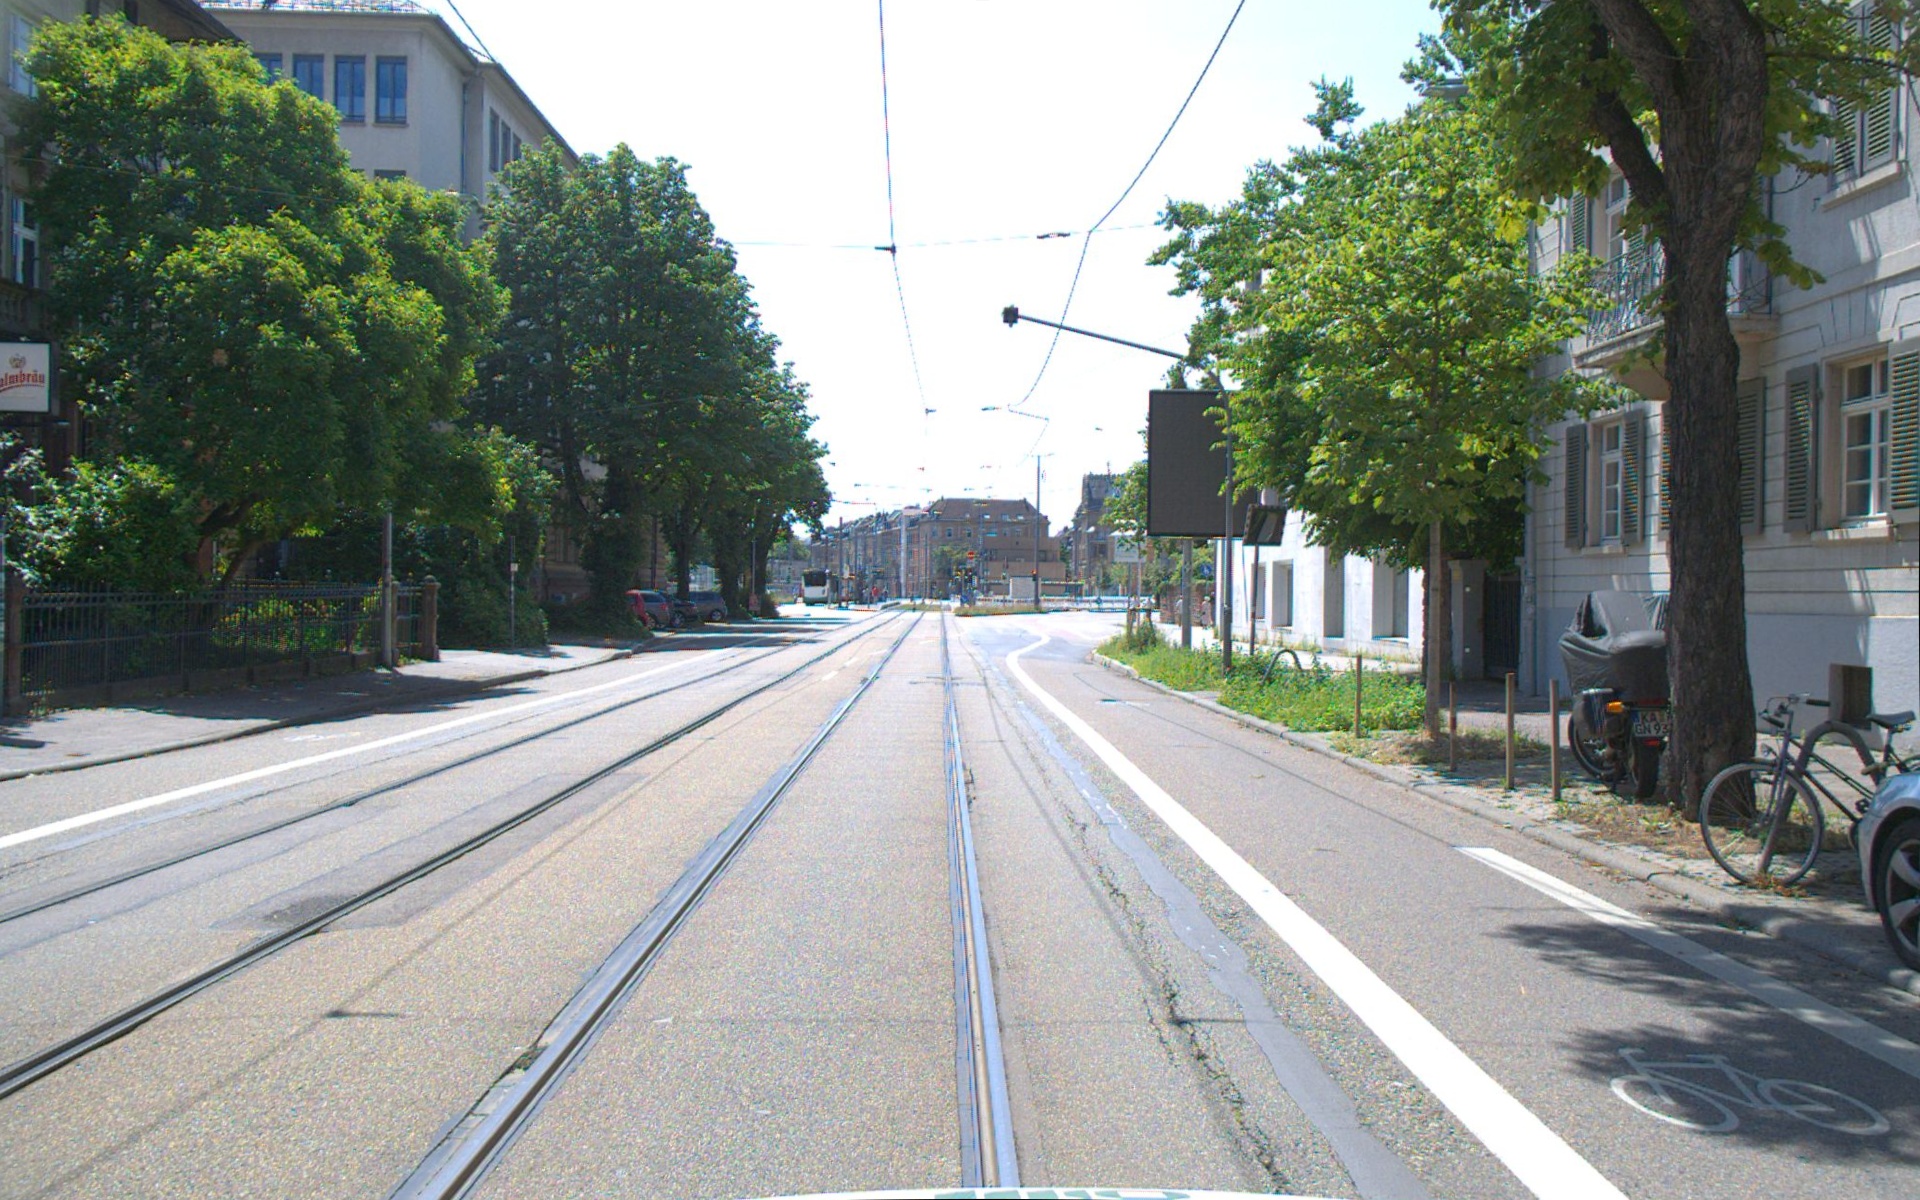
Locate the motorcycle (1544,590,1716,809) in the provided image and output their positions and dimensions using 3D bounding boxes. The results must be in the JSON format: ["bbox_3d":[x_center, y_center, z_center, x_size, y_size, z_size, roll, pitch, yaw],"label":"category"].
[{"bbox_3d":[5.192,0.701,12.983,0.729,1.532,2.561,1,0,10],"label":"motorcycle"}]

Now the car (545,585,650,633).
[{"bbox_3d":[-12.801,0.321,58.442,3.301,1.542,1.655,2,-1,-27],"label":"car"}]

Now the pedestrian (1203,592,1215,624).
[{"bbox_3d":[12.258,0.371,81.476,0.504,1.559,0.598,1,0,4],"label":"pedestrian"}]

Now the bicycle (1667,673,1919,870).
[{"bbox_3d":[4.811,0.940,9.166,1.624,1.033,0.371,1,0,0],"label":"bicycle"}]

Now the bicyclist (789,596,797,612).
[{"bbox_3d":[-17.994,0.423,178.529,0.804,1.739,0.770,1,0,-2],"label":"bicyclist"}]

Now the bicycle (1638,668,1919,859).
[{"bbox_3d":[4.822,0.939,9.583,1.624,1.033,0.371,2,-2,0],"label":"bicycle"}]

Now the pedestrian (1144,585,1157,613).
[{"bbox_3d":[12.646,-0.052,109.988,0.797,1.839,0.700,1,0,3],"label":"pedestrian"}]

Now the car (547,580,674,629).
[{"bbox_3d":[-12.981,0.185,61.477,4.262,1.612,1.653,3,-1,-30],"label":"car"}]

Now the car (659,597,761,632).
[{"bbox_3d":[-10.355,0.601,68.431,3.873,1.398,1.655,1,0,-27],"label":"car"}]

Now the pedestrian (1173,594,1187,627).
[{"bbox_3d":[11.573,0.548,86.983,0.647,1.676,0.625,1,0,4],"label":"pedestrian"}]

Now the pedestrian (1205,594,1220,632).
[{"bbox_3d":[12.483,0.641,81.666,0.613,1.804,0.719,-1,2,14],"label":"pedestrian"}]

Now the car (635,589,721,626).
[{"bbox_3d":[-13.276,0.363,77.786,3.624,1.546,1.653,3,-1,-29],"label":"car"}]

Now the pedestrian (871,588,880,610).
[{"bbox_3d":[-7.511,-0.053,147.099,0.660,1.943,0.639,1,0,-10],"label":"pedestrian"}]

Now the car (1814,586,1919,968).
[{"bbox_3d":[4.969,0.752,5.383,1.821,1.605,4.876,2,-1,0],"label":"car"}]

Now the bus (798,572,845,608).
[{"bbox_3d":[-13.084,-0.946,157.908,2.948,3.213,17.497,1,0,0],"label":"bus"}]

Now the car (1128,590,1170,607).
[{"bbox_3d":[17.720,-0.160,154.659,1.959,1.463,4.690,1,-1,34],"label":"car"}]
